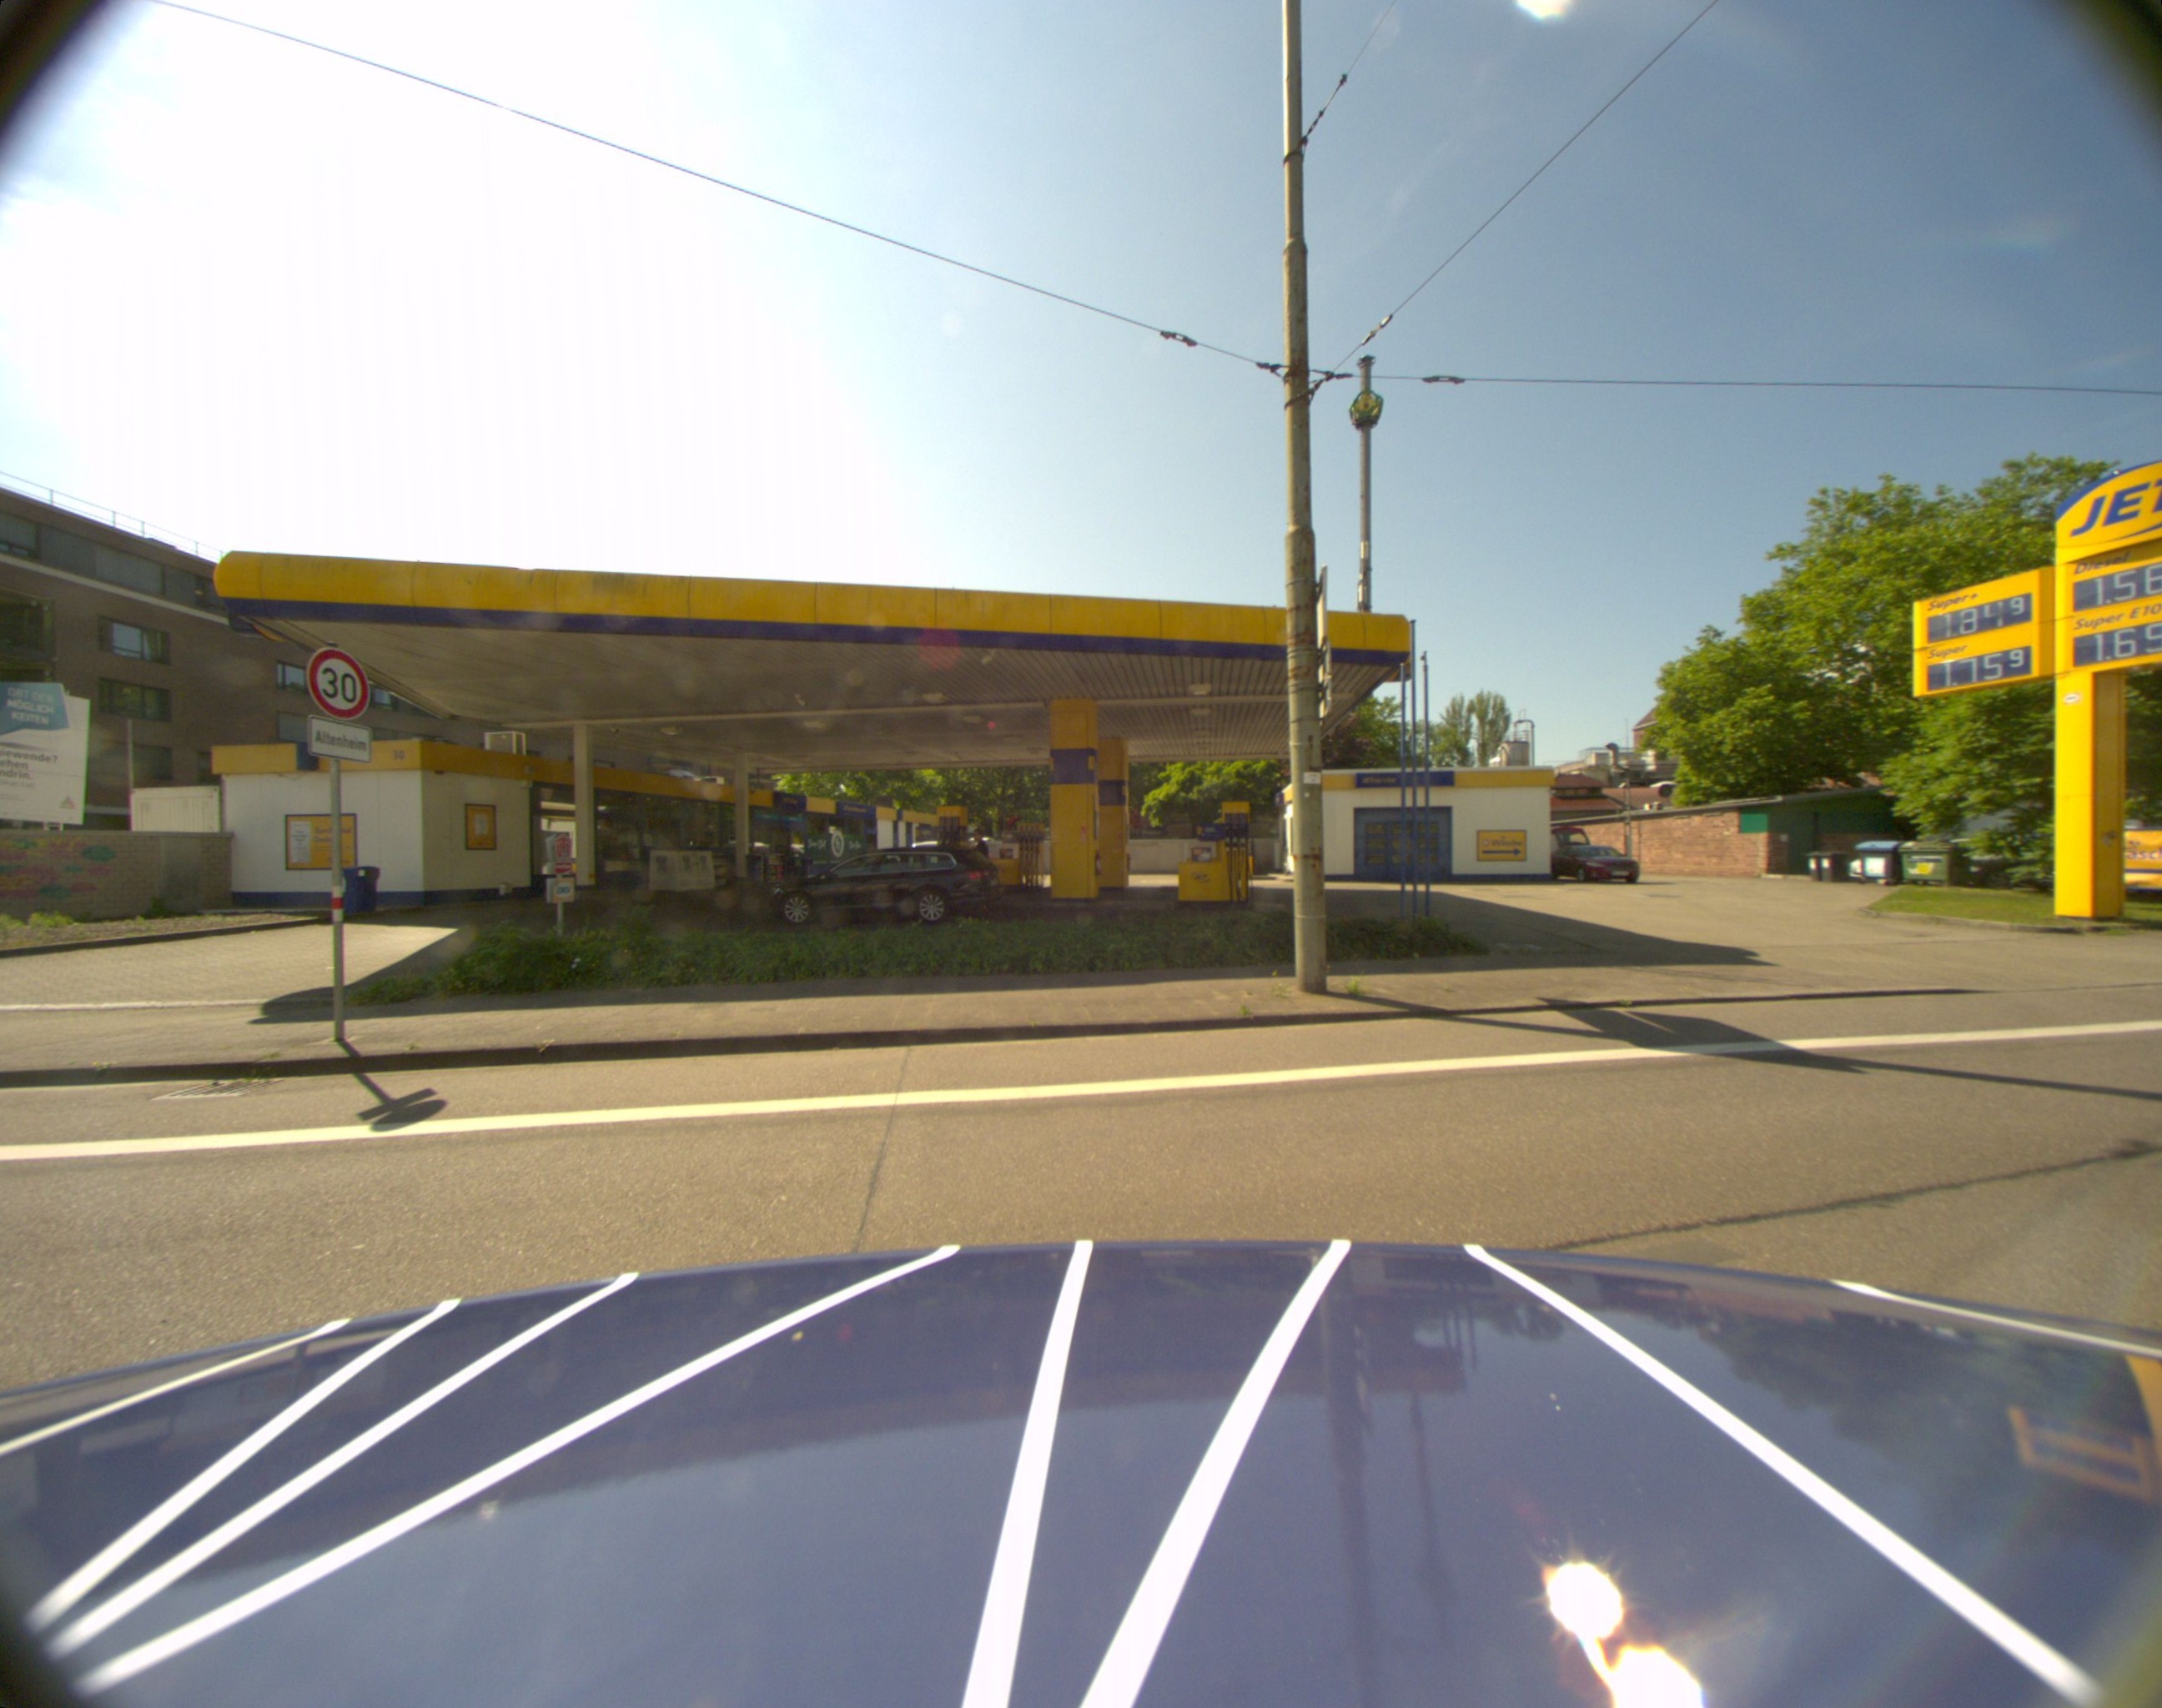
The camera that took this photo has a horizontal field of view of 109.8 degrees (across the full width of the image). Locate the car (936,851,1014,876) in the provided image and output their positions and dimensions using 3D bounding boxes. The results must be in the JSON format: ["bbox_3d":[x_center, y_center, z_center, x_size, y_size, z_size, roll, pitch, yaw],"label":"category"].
[{"bbox_3d":[-6.101,0.535,44.028,4.126,1.352,1.762,0,1,7],"label":"car"}]

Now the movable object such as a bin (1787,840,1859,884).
[{"bbox_3d":[26.160,0.304,26.827,1.328,1.493,1.331,-1,-1,14],"label":"movable object such as a bin"}]

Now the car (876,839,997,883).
[{"bbox_3d":[-6.710,0.305,35.588,5.300,1.971,1.762,0,1,5],"label":"car"}]

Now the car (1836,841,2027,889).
[{"bbox_3d":[29.254,0.318,26.327,3.989,1.548,1.850,0,1,29],"label":"car"}]

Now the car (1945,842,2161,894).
[{"bbox_3d":[29.683,0.366,23.174,3.989,1.465,1.850,0,1,29],"label":"car"}]

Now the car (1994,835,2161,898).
[{"bbox_3d":[28.581,0.302,20.462,4.647,1.631,2.024,0,1,29],"label":"car"}]

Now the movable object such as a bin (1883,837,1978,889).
[{"bbox_3d":[25.697,0.259,23.021,1.380,1.494,1.420,0,1,-12],"label":"movable object such as a bin"}]

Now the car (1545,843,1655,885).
[{"bbox_3d":[20.098,0.340,29.689,1.890,1.452,4.559,-2,0,11],"label":"car"}]

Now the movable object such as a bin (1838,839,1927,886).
[{"bbox_3d":[26.090,0.272,24.780,1.378,1.494,1.422,0,1,1],"label":"movable object such as a bin"}]

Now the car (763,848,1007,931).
[{"bbox_3d":[-3.881,0.701,15.412,4.403,1.448,1.761,-1,4,9],"label":"car"}]

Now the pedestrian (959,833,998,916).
[{"bbox_3d":[-2.206,0.421,16.319,0.745,1.715,0.857,0,1,-12],"label":"pedestrian"}]
